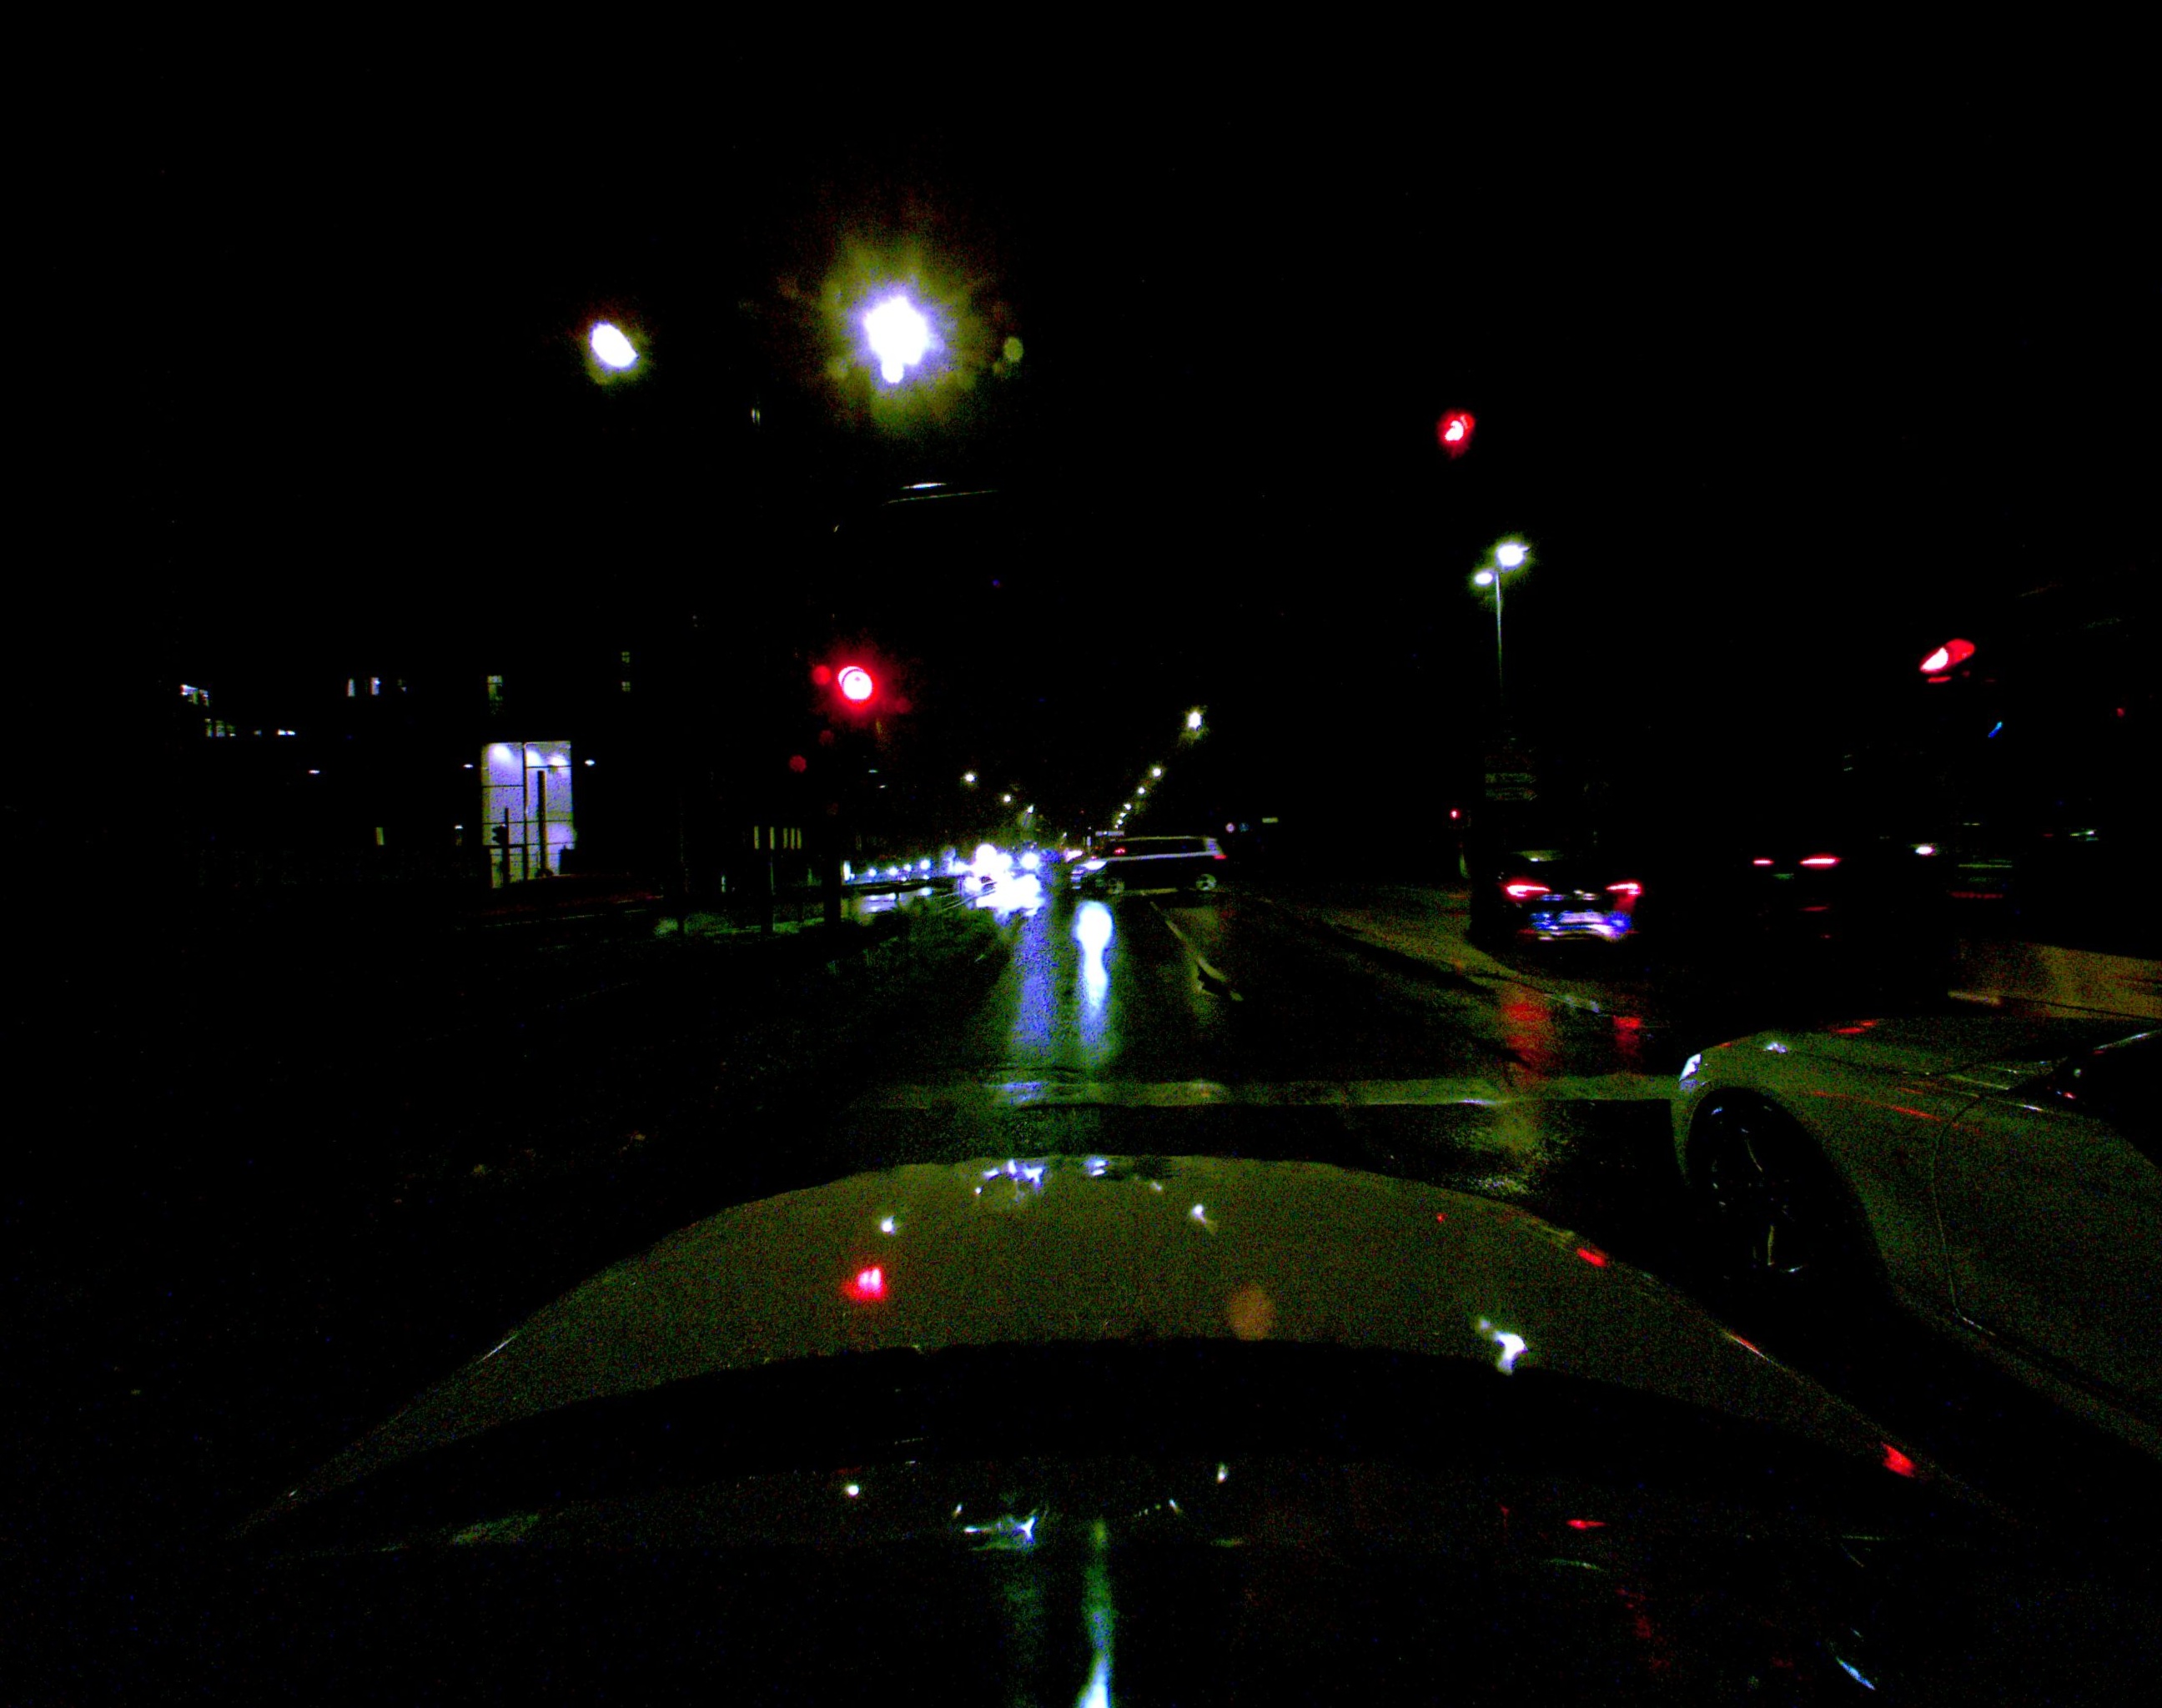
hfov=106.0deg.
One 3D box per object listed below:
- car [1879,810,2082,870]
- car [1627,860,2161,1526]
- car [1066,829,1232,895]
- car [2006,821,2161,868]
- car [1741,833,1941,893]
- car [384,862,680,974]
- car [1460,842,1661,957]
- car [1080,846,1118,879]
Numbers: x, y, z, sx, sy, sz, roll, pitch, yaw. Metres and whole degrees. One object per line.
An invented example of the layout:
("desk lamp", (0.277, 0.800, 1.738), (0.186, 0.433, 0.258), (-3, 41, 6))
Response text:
("car", (32.729, -0.490, 29.744), (5.073, 1.984, 2.001), (-2, 0, 2))
("car", (3.133, 0.716, 1.299), (1.710, 1.404, 4.351), (0, -1, 2))
("car", (2.230, 0.237, 27.138), (5.102, 1.984, 1.990), (-2, 0, -15))
("car", (40.149, -0.370, 32.457), (4.396, 1.679, 1.798), (-2, 0, 2))
("car", (19.160, 0.195, 20.551), (4.564, 1.390, 1.747), (-1, 0, -19))
("car", (-9.972, 1.088, 15.200), (1.889, 1.588, 4.105), (-3, 1, 23))
("car", (7.080, 0.564, 12.457), (1.737, 1.431, 3.776), (-1, 1, 16))
("car", (1.195, 0.600, 55.973), (2.131, 2.145, 4.921), (0, -1, -4))
